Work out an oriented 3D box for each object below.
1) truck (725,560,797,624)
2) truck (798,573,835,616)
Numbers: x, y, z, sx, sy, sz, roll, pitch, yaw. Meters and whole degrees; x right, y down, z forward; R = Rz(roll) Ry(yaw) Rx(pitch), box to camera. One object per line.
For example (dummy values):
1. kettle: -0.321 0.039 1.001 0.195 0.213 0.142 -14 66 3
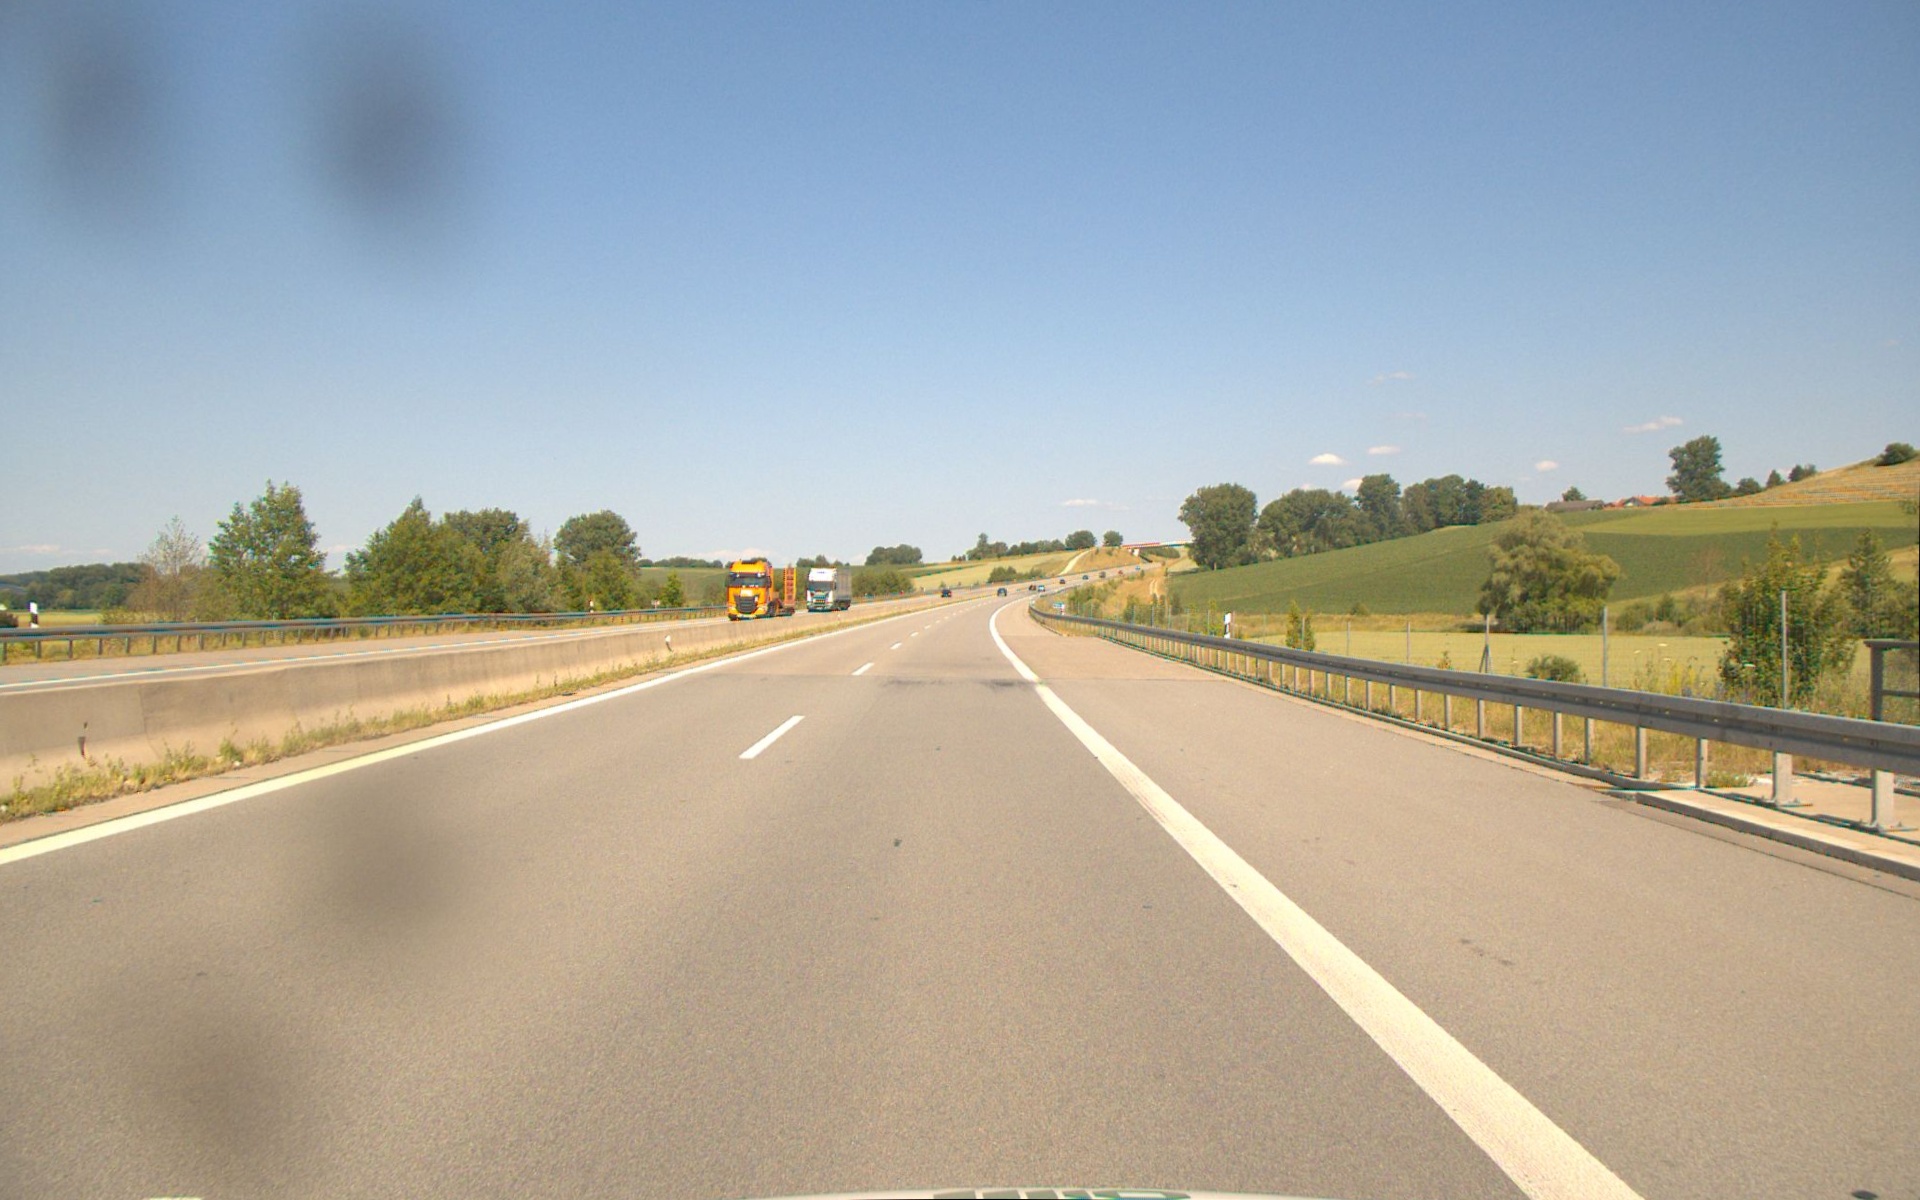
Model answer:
1. truck: -13.622 -0.483 114.685 2.809 4.086 17.115 0 0 0
2. truck: -13.447 -0.502 155.151 2.802 3.941 5.984 0 0 1
